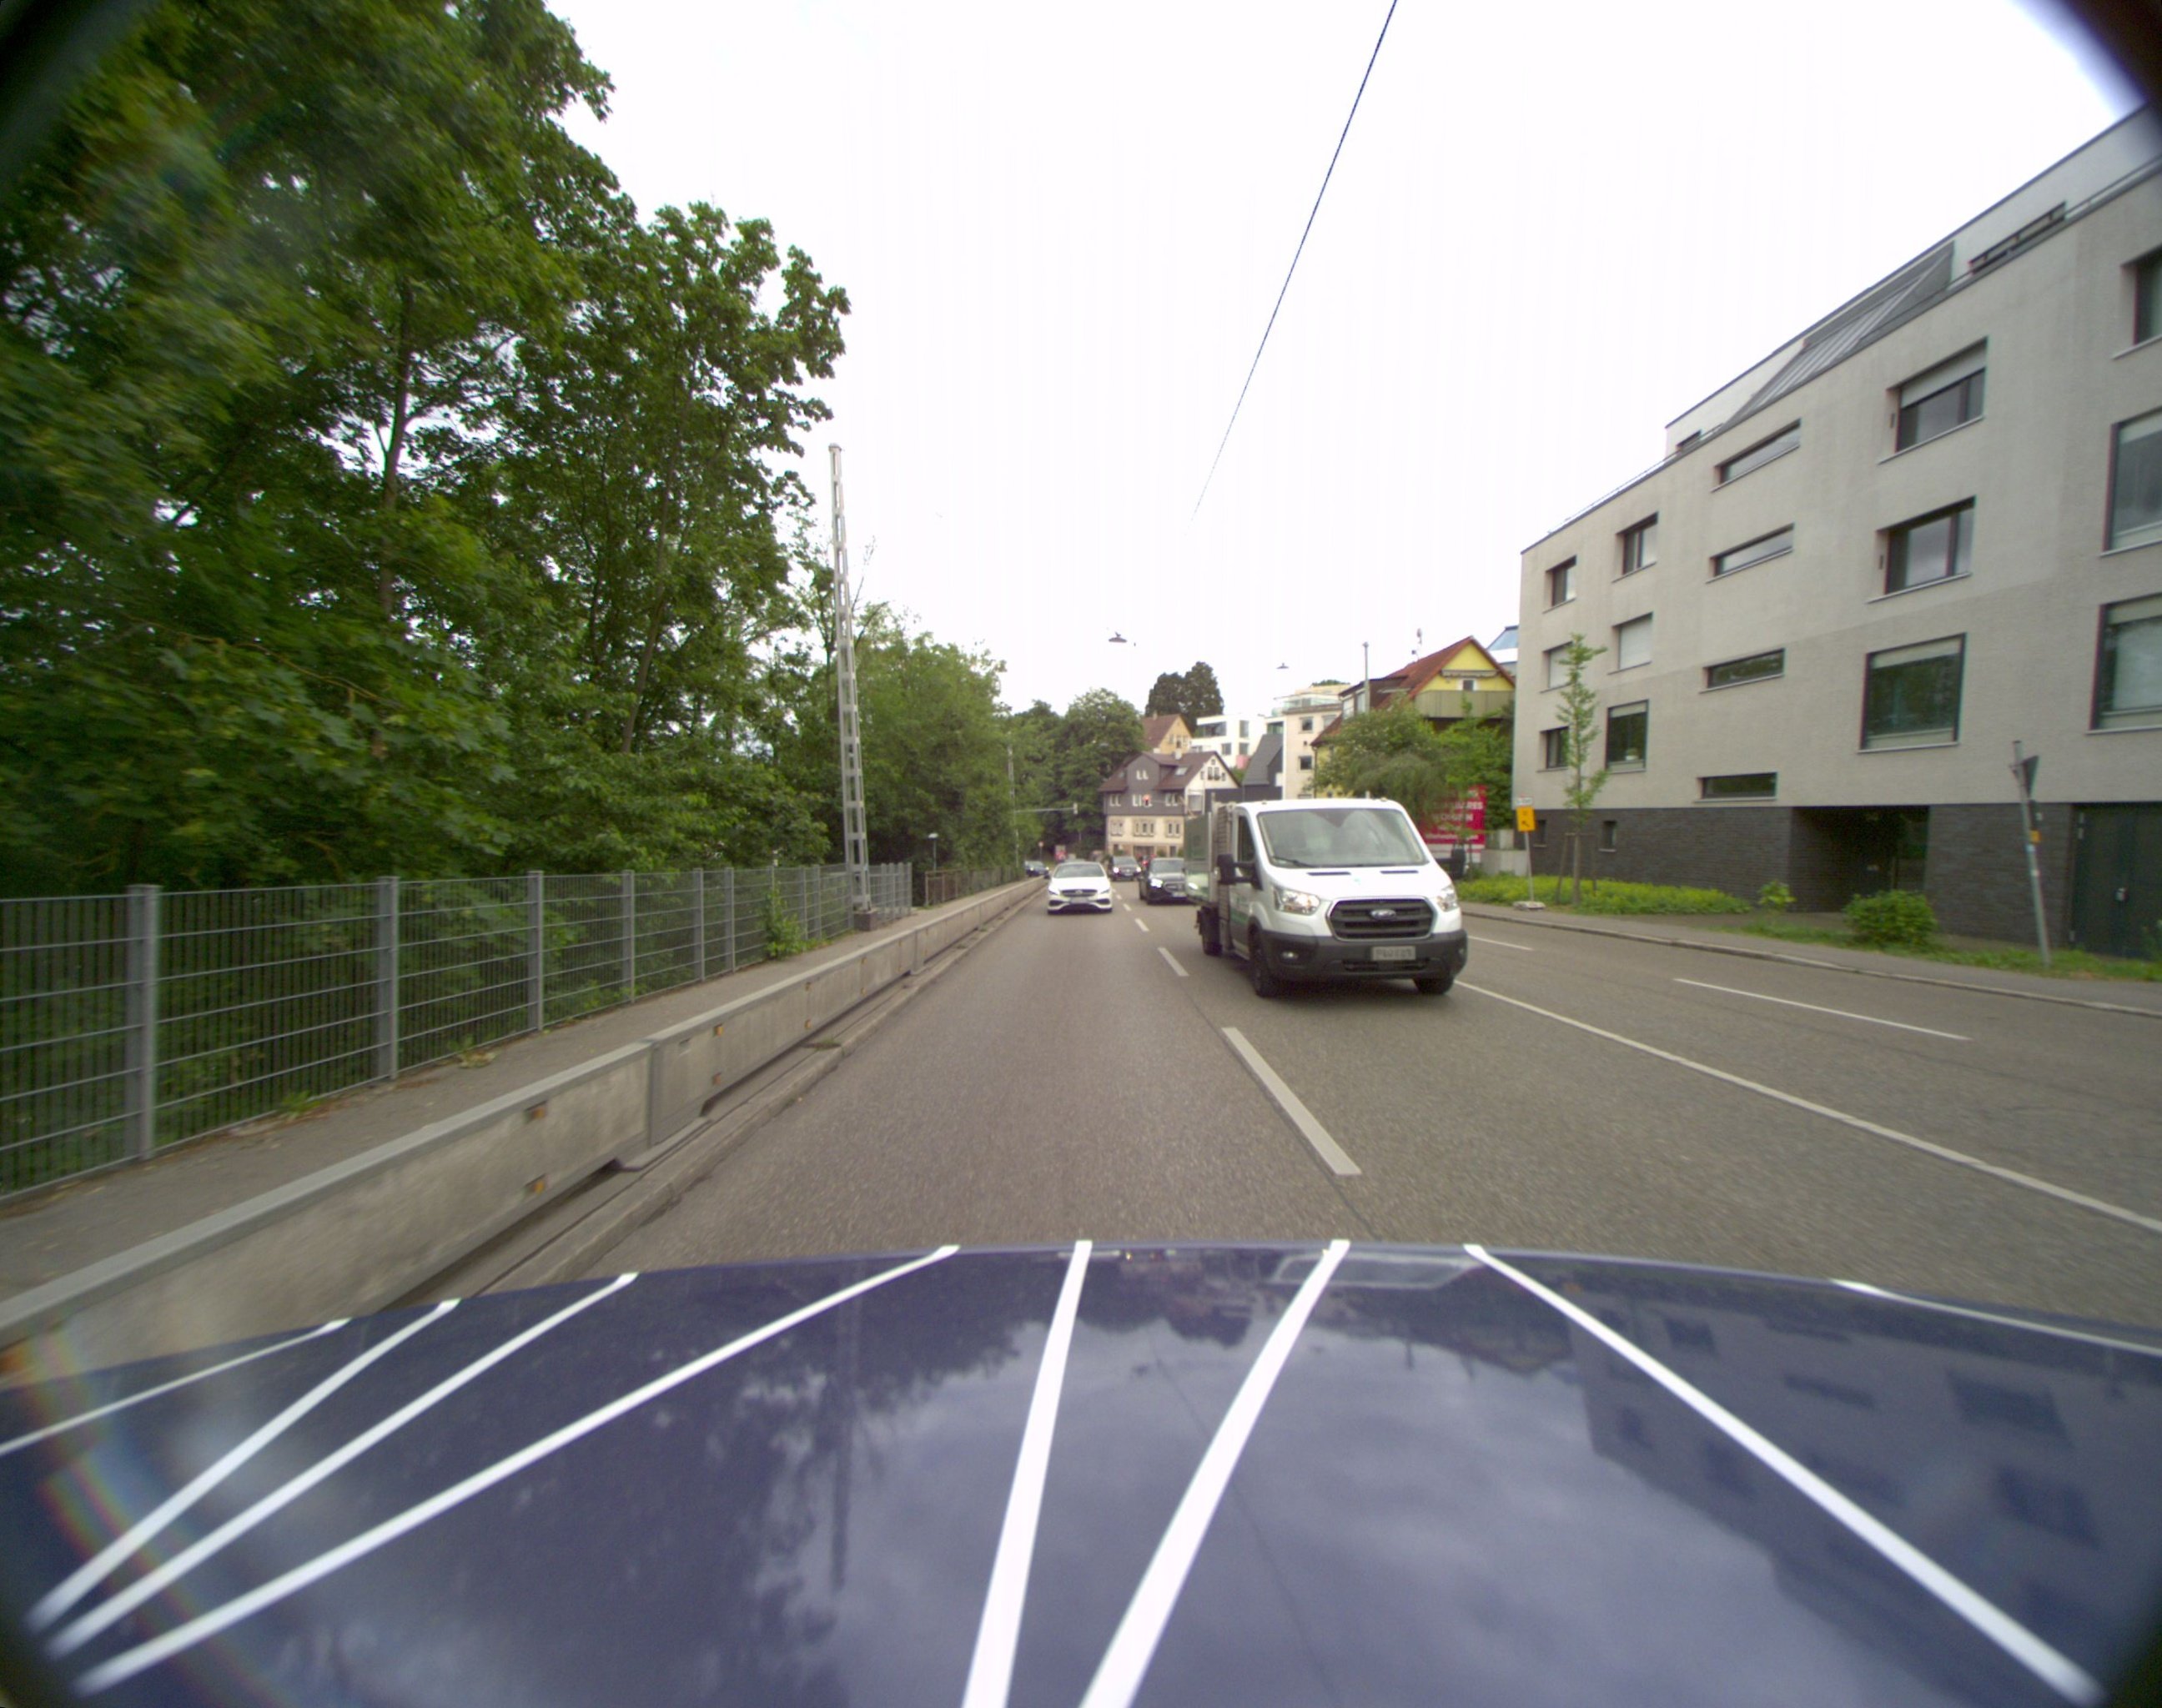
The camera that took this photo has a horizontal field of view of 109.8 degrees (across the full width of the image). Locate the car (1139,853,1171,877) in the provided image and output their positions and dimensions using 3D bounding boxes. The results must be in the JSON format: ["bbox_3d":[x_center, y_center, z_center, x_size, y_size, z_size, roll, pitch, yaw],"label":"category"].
[{"bbox_3d":[5.660,0.793,58.637,1.901,1.685,4.346,-2,0,-2],"label":"car"}]

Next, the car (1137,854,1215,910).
[{"bbox_3d":[3.029,0.839,25.042,1.916,1.472,4.399,-3,1,0],"label":"car"}]

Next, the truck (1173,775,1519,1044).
[{"bbox_3d":[2.718,0.484,9.822,2.081,2.307,6.331,-1,0,-2],"label":"truck"}]

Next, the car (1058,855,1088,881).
[{"bbox_3d":[-0.439,0.864,47.868,1.777,1.532,4.000,0,0,1],"label":"car"}]

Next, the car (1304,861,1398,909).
[{"bbox_3d":[9.184,1.012,26.256,1.778,1.455,4.191,1,0,1],"label":"car"}]

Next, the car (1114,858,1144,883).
[{"bbox_3d":[3.042,0.995,48.434,1.693,1.499,4.000,0,0,1],"label":"car"}]

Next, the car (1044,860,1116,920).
[{"bbox_3d":[0.005,0.963,21.951,1.817,1.391,3.999,-3,1,1],"label":"car"}]
